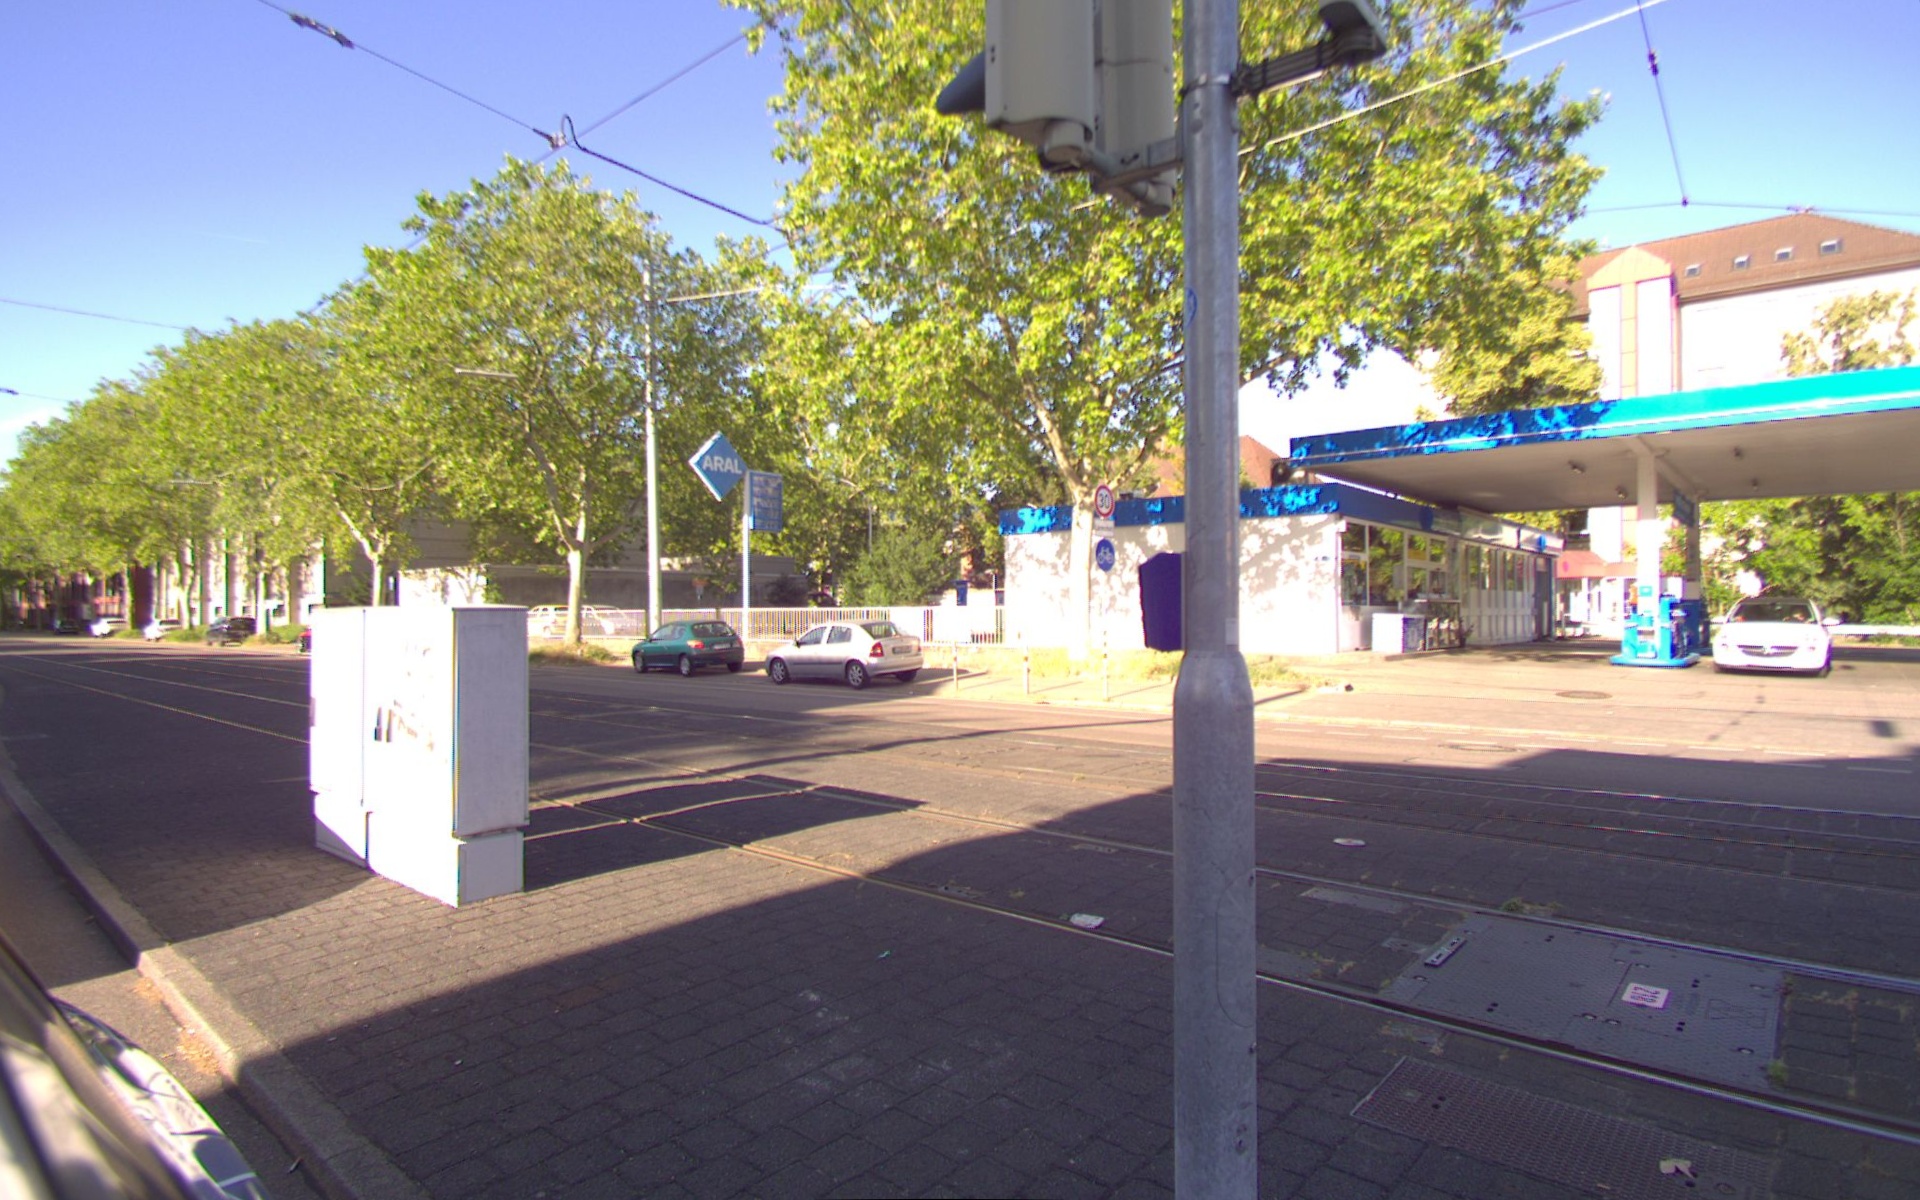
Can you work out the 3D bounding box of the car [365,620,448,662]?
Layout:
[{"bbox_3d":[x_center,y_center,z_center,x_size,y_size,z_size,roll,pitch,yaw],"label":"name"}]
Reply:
[{"bbox_3d":[-21.856,1.573,39.906,3.769,1.455,1.701,-1,2,43],"label":"car"}]

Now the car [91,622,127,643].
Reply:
[{"bbox_3d":[-66.796,2.513,79.402,3.731,1.471,1.639,-1,2,43],"label":"car"}]

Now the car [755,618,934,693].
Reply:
[{"bbox_3d":[-2.634,1.190,22.592,3.987,1.376,1.666,-2,3,41],"label":"car"}]

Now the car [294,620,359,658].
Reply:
[{"bbox_3d":[-28.785,1.744,45.948,3.377,1.506,1.639,-1,2,43],"label":"car"}]

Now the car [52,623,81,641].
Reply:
[{"bbox_3d":[-85.045,3.027,96.320,3.731,1.471,1.639,-1,2,43],"label":"car"}]

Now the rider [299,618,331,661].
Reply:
[{"bbox_3d":[-25.575,1.545,40.137,1.104,1.660,0.717,-1,0,36],"label":"rider"}]

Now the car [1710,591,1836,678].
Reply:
[{"bbox_3d":[15.881,0.602,19.705,1.743,1.446,3.882,-1,1,41],"label":"car"}]

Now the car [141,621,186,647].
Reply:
[{"bbox_3d":[-53.708,2.296,68.236,3.878,1.552,1.731,-1,2,43],"label":"car"}]

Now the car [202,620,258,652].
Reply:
[{"bbox_3d":[-40.757,1.995,56.466,3.878,1.603,1.731,-1,2,43],"label":"car"}]

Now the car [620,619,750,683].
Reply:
[{"bbox_3d":[-7.325,1.301,26.819,3.606,1.455,1.598,-1,2,43],"label":"car"}]

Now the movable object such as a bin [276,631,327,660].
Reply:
[{"bbox_3d":[-26.704,1.826,41.052,1.831,1.111,1.164,-1,0,36],"label":"movable object such as a bin"}]
